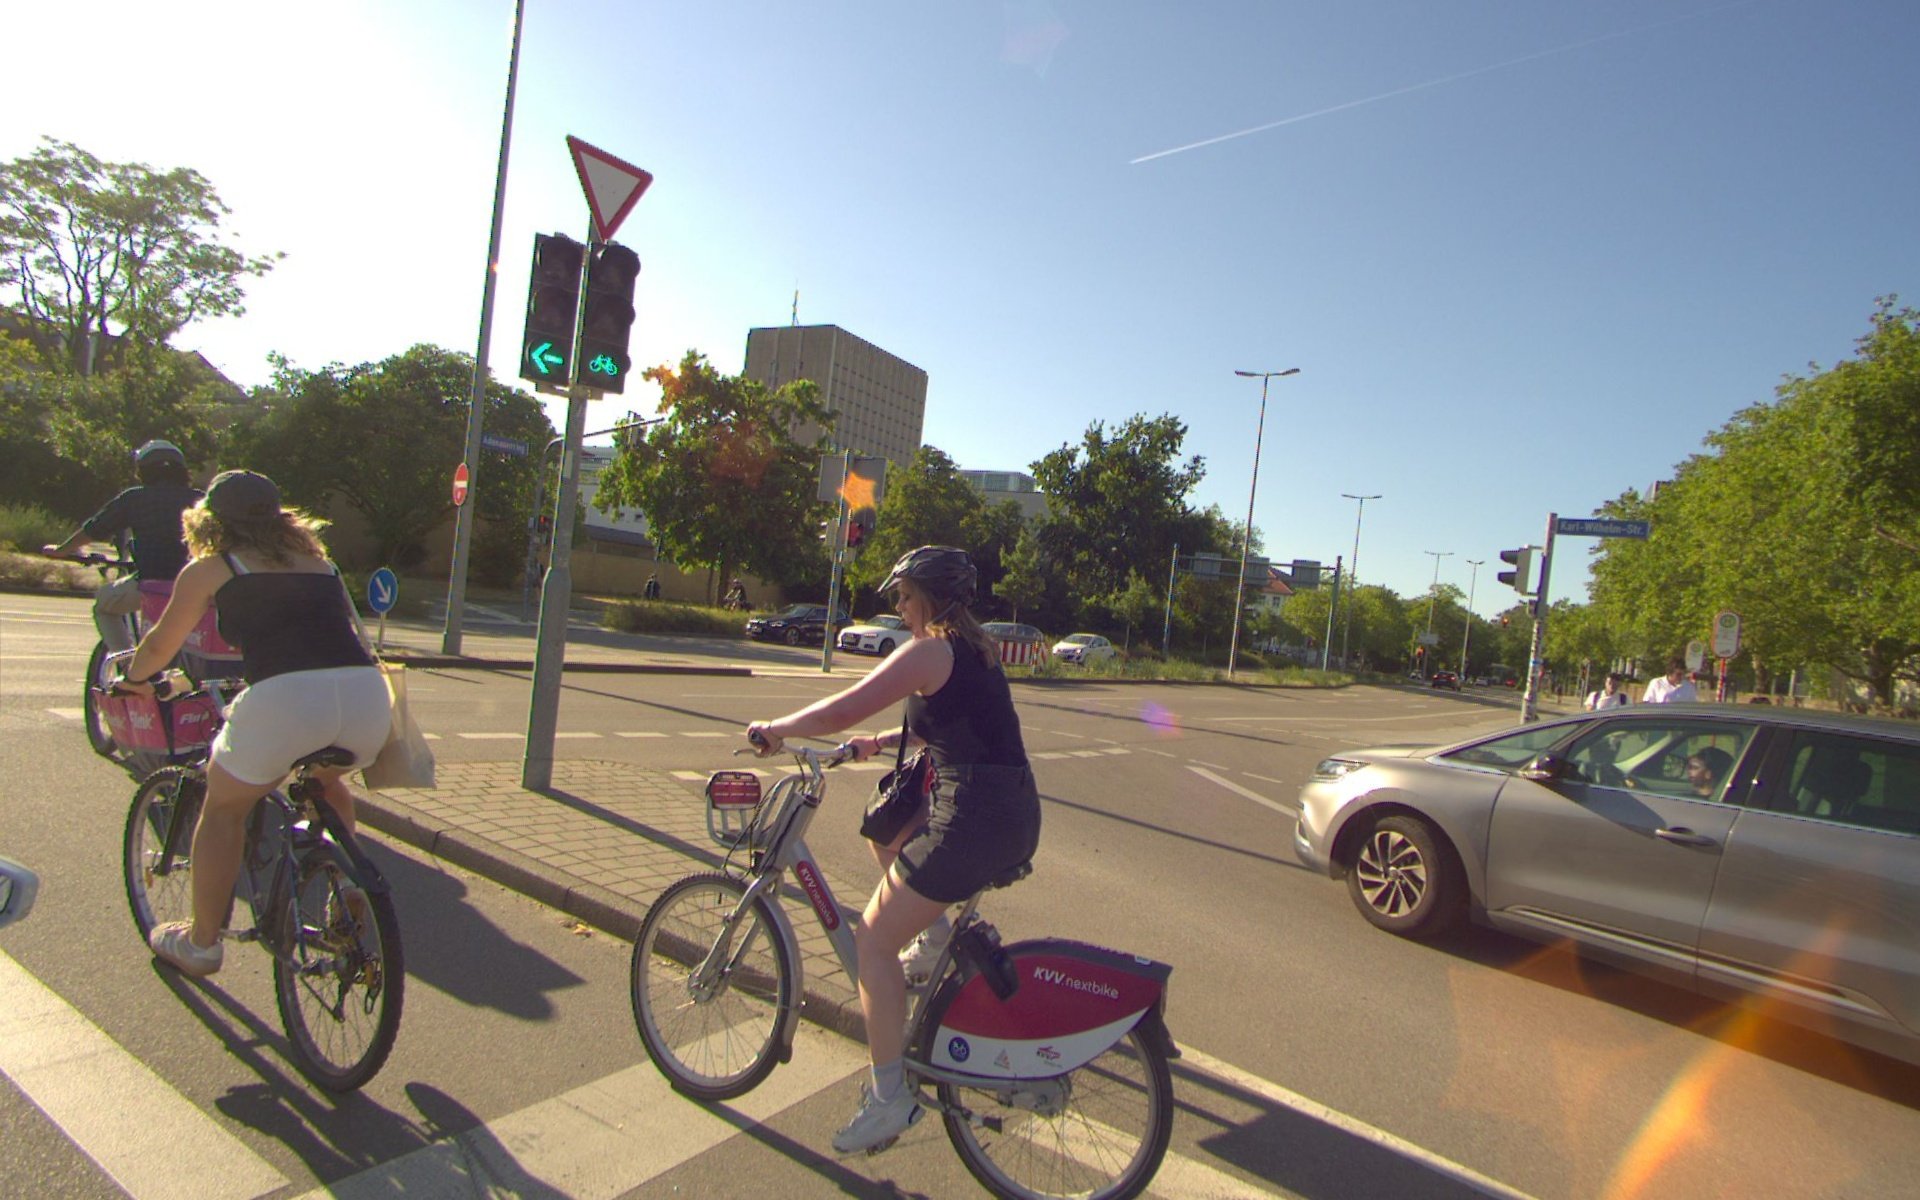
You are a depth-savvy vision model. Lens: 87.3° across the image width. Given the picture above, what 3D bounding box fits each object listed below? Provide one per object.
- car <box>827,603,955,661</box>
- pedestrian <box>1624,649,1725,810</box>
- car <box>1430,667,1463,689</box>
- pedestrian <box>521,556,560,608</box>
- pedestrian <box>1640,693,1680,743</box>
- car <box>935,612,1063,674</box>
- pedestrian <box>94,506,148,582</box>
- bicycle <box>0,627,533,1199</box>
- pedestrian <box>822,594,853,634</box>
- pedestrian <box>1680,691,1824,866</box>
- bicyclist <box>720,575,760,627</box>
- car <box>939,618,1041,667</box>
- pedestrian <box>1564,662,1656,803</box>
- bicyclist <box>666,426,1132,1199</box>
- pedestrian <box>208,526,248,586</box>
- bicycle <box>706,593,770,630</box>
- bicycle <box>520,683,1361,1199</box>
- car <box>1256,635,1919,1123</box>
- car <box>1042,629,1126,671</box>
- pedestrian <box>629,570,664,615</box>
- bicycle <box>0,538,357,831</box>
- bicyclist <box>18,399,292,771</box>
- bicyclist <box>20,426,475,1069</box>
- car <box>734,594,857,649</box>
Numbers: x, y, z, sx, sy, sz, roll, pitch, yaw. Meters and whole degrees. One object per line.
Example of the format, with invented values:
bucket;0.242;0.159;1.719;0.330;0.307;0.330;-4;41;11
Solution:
car;-2.258;1.114;34.035;1.776;1.538;4.416;7;0;37
pedestrian;9.288;1.649;13.119;0.699;1.920;0.871;5;3;21
car;41.429;6.642;85.586;1.967;1.615;3.991;7;0;32
pedestrian;-14.769;-0.634;35.424;0.664;1.725;0.875;7;1;29
pedestrian;24.071;4.032;34.595;0.958;1.556;0.920;7;1;35
car;1.268;1.367;31.012;1.896;1.538;4.003;7;0;37
pedestrian;-20.475;-1.362;24.559;0.701;1.734;0.732;7;1;34
bicycle;-2.259;0.769;3.056;1.837;1.136;0.718;8;2;29
pedestrian;-5.783;0.672;47.498;1.001;1.771;0.848;7;1;28
pedestrian;8.344;1.865;10.630;0.701;1.675;0.790;3;3;-14
bicyclist;-8.458;0.033;38.738;0.770;1.853;1.087;7;1;44
car;1.227;1.695;39.534;1.896;1.538;4.003;7;0;37
pedestrian;8.615;1.723;13.373;0.699;1.697;0.871;5;3;21
bicyclist;-0.130;0.528;2.770;0.834;1.810;0.717;8;1;21
pedestrian;-20.722;-1.248;28.491;0.613;1.594;0.637;7;1;34
bicycle;-8.529;0.459;38.723;0.770;1.170;2.279;7;0;43
bicycle;-0.078;0.956;2.737;2.028;1.135;0.719;8;1;21
car;4.219;1.328;5.437;1.984;1.705;4.579;7;0;-39
car;5.689;2.293;45.799;1.896;1.538;4.003;7;0;37
pedestrian;-11.784;-0.287;37.811;0.750;1.563;0.846;7;1;28
bicycle;-4.410;0.362;5.538;2.539;1.170;0.778;7;1;34
bicyclist;-4.493;-0.095;5.617;1.075;1.856;0.778;7;1;34
bicyclist;-2.091;0.351;2.977;0.835;1.569;0.716;8;3;29
car;-5.653;0.779;34.997;1.776;1.538;3.986;7;0;37
